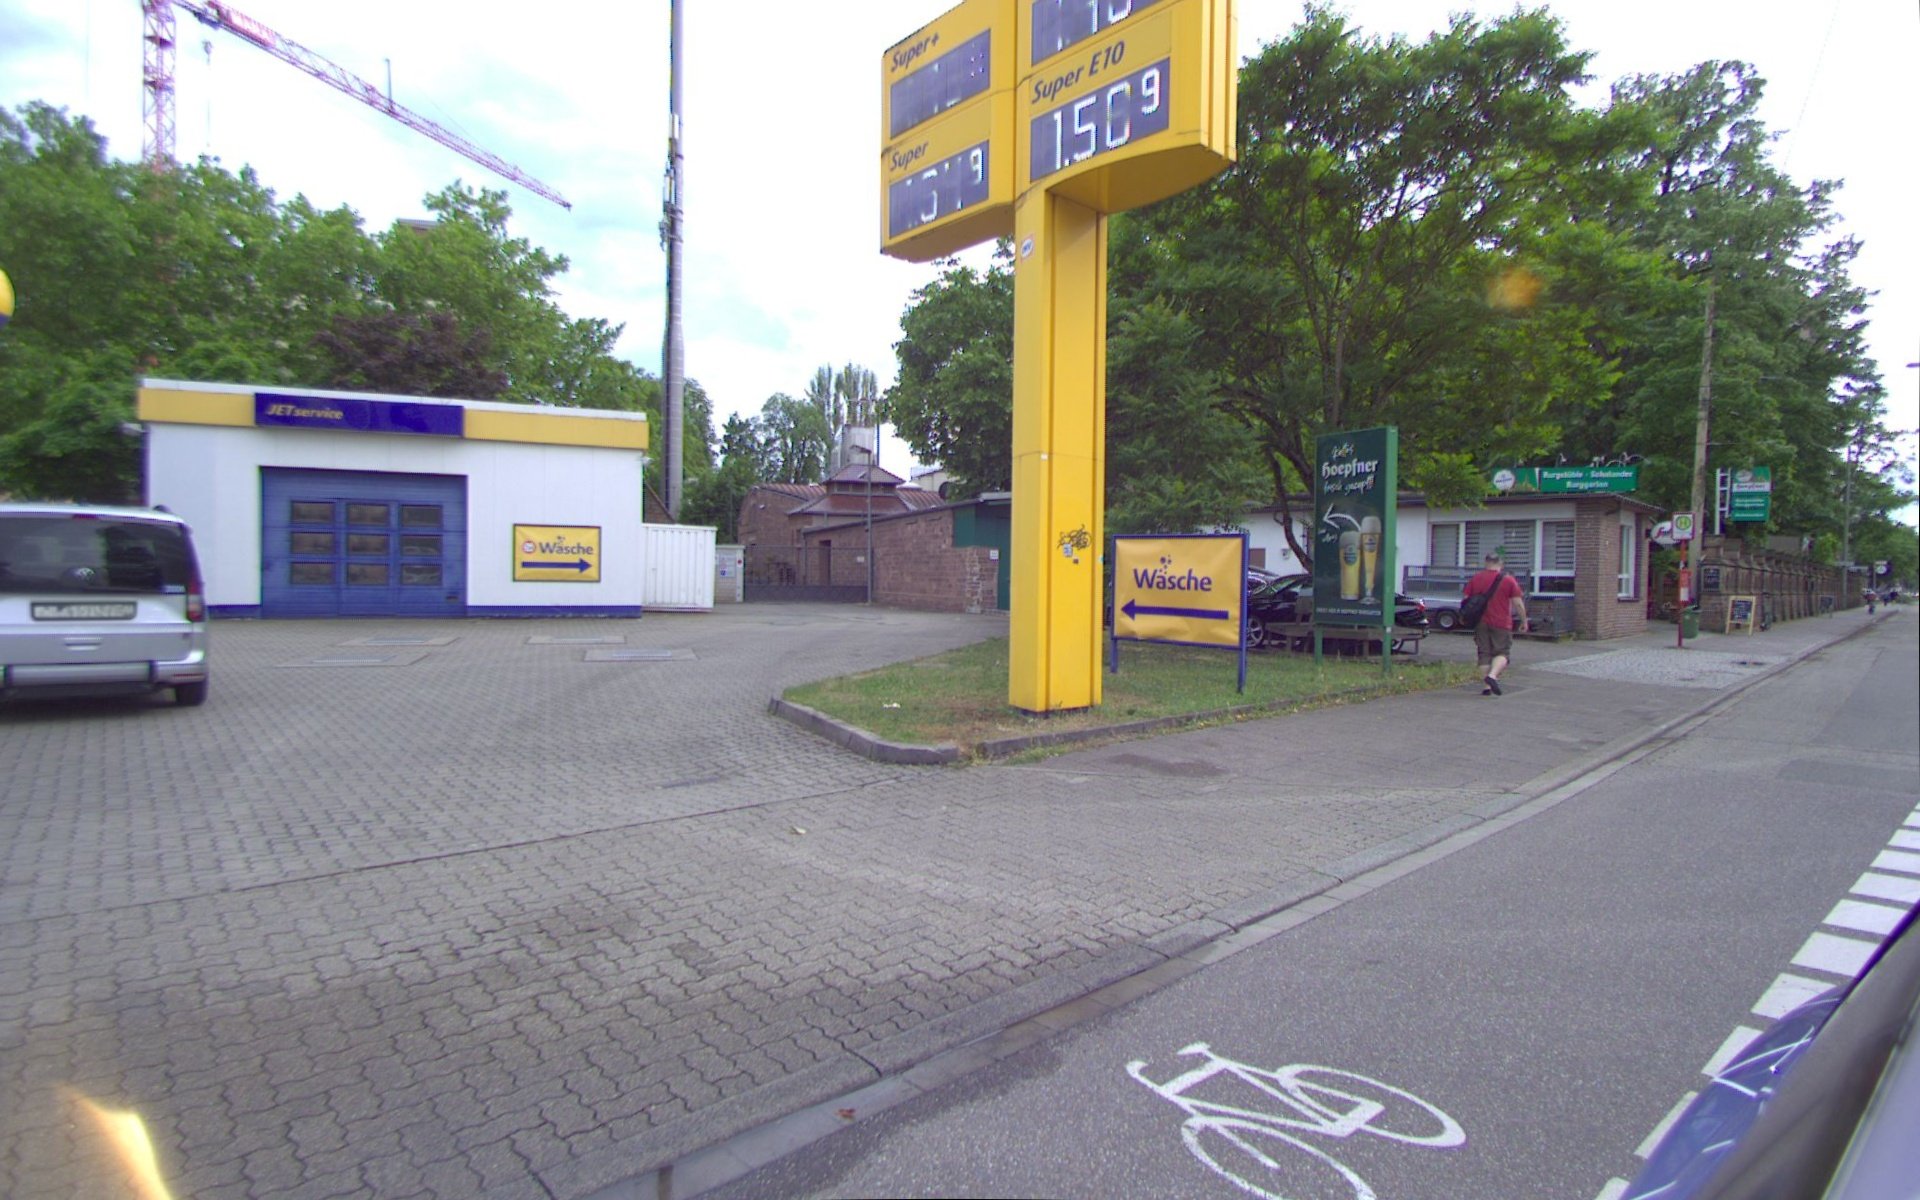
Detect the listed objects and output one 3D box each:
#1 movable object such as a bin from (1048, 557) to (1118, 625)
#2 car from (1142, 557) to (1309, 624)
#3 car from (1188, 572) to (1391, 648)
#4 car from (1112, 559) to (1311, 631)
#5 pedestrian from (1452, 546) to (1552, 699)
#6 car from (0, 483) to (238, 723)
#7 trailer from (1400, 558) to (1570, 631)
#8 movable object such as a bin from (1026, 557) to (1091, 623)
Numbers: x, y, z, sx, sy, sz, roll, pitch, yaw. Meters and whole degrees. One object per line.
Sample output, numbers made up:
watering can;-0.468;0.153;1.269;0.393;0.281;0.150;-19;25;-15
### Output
movable object such as a bin;2.477;-0.190;20.533;1.136;1.336;1.123;0;1;-10
car;7.167;-0.271;27.522;1.967;1.687;3.990;-1;1;-44
car;6.395;0.127;19.497;3.930;1.304;1.997;-1;1;-41
car;5.559;-0.126;22.655;3.921;1.536;1.828;0;1;-4
pedestrian;6.641;0.240;12.459;0.859;1.768;0.846;3;4;20
car;-8.427;-0.118;9.967;1.951;1.865;4.527;0;3;-38
trailer;12.735;-0.193;24.638;1.745;1.549;3.286;-4;5;-44
movable object such as a bin;2.103;-0.216;21.738;1.136;1.376;1.123;0;1;-10
